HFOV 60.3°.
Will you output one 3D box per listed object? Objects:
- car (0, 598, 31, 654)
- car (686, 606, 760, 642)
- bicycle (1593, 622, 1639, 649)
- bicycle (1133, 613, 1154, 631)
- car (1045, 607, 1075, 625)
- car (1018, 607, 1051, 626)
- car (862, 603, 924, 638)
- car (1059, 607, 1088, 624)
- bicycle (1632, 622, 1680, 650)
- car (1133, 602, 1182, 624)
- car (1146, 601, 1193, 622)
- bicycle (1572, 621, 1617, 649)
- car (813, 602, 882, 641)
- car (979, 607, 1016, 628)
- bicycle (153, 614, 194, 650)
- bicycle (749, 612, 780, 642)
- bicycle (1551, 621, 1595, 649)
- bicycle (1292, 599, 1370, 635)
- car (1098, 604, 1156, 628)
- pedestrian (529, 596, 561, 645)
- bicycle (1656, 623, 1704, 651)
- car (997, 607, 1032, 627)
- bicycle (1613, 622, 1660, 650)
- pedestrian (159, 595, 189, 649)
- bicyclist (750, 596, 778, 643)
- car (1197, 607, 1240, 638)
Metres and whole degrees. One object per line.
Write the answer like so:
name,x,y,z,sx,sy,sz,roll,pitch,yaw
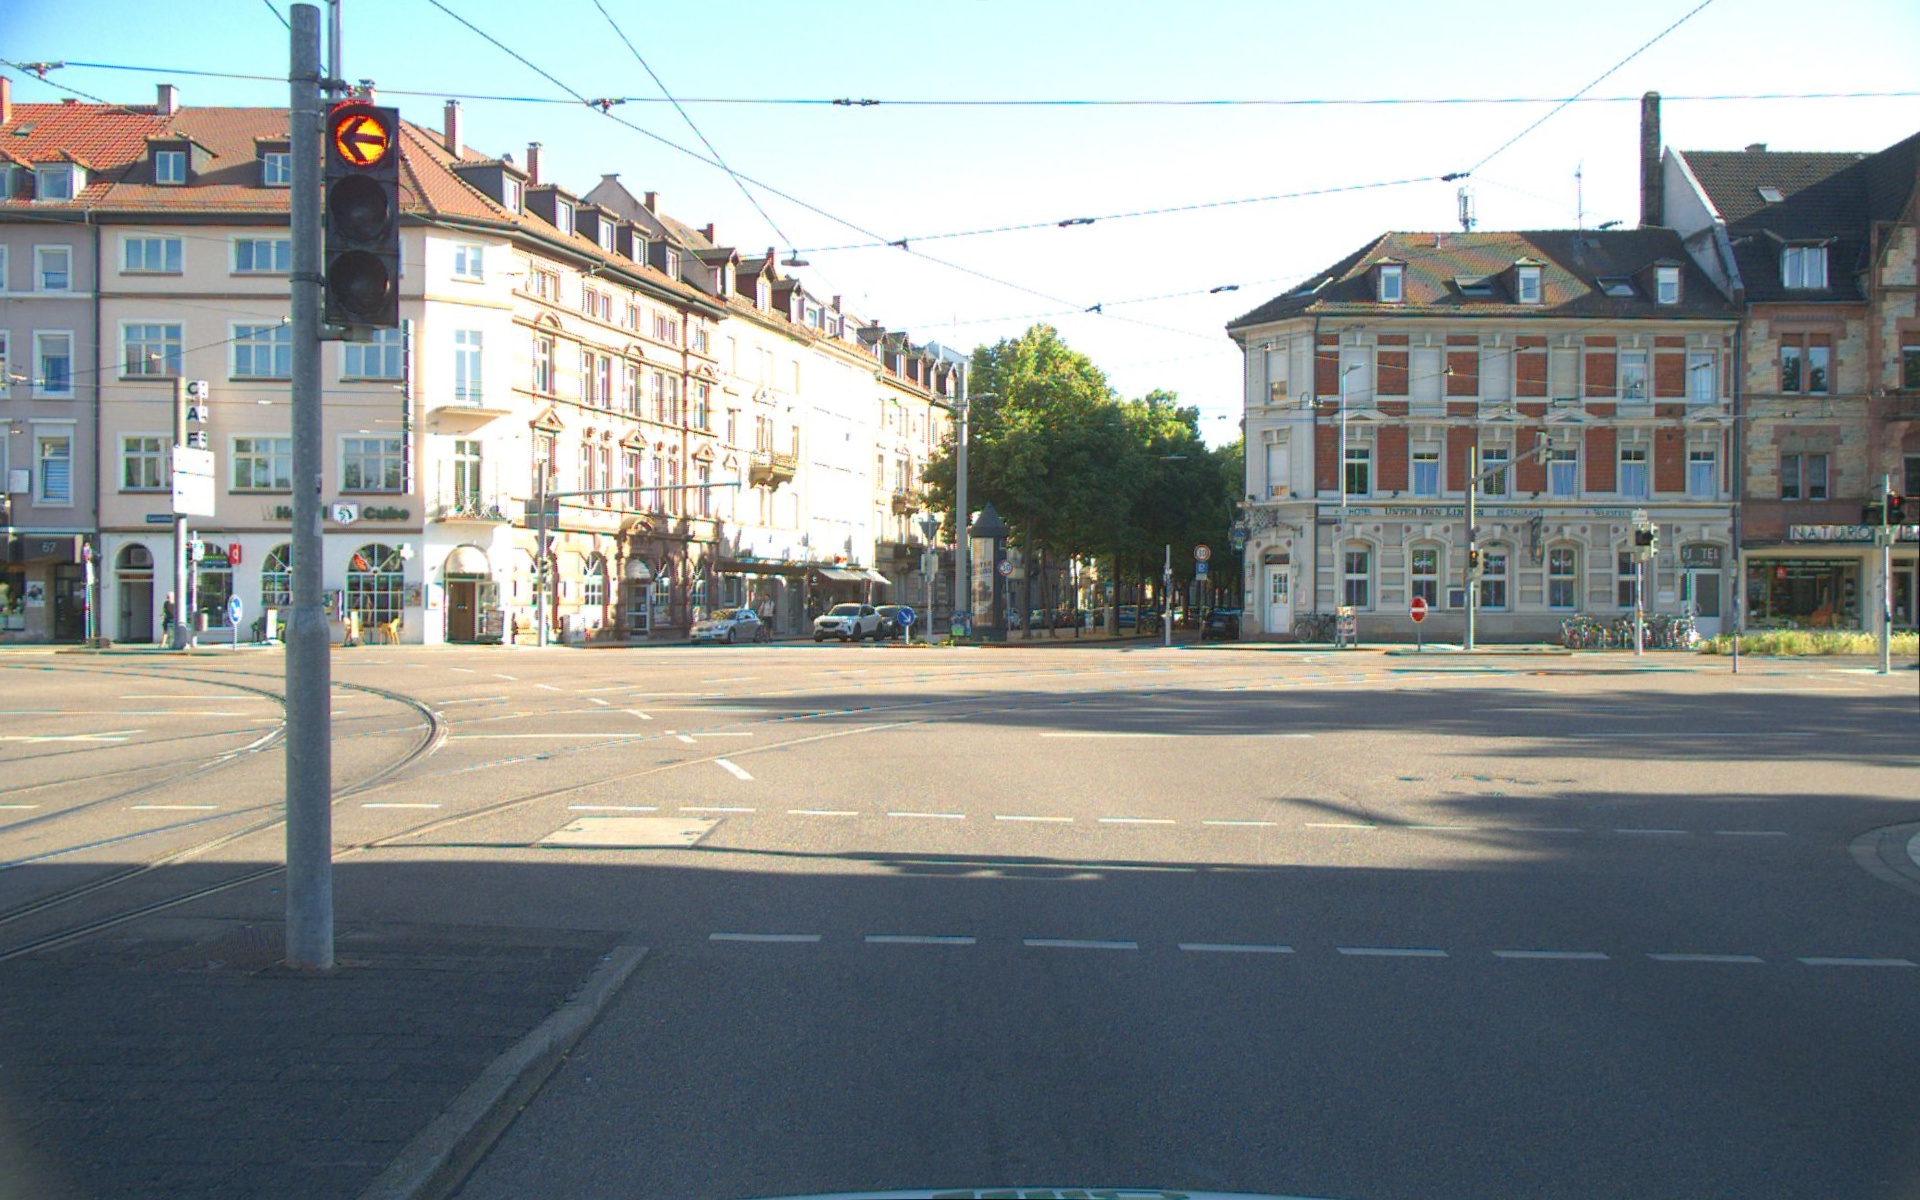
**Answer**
car,-32.151,0.792,52.257,4.276,1.741,2.306,1,0,1
car,-9.538,0.938,66.744,1.642,1.378,3.593,0,0,16
bicycle,21.194,1.138,53.466,0.645,0.855,2.160,1,0,1
bicycle,11.055,1.304,99.625,0.625,1.039,1.840,1,0,-14
car,7.897,1.225,130.842,1.642,1.378,3.593,0,0,16
car,5.537,1.195,122.500,1.642,1.378,3.593,0,0,16
car,-2.946,0.893,73.551,1.642,1.509,3.950,0,0,16
car,9.322,1.262,135.894,1.642,1.378,3.593,0,0,16
bicycle,22.492,1.160,53.479,0.645,0.855,2.160,1,0,1
car,15.324,0.971,128.245,3.503,1.677,1.684,0,0,16
car,16.946,0.897,133.744,3.503,1.677,1.684,0,0,16
bicycle,20.482,1.126,53.453,0.645,0.855,2.160,1,0,1
car,-4.534,0.848,67.226,1.642,1.509,3.774,0,0,16
car,2.568,1.148,111.338,1.642,1.378,3.593,0,0,16
bicycle,-24.736,0.988,52.053,0.561,1.096,1.497,1,0,-1
bicycle,-7.679,1.051,65.126,0.687,1.137,1.636,1,0,13
bicycle,19.762,1.113,53.366,0.645,0.855,2.160,1,0,1
bicycle,12.868,0.594,57.456,2.504,1.194,0.818,1,-1,-4
car,11.718,1.126,115.832,3.819,1.677,1.684,0,0,16
pedestrian,-14.852,0.733,59.171,0.759,1.699,0.831,1,-1,15
bicycle,23.281,1.174,53.525,0.645,0.855,2.160,1,0,1
car,3.825,1.168,115.513,1.642,1.378,3.593,0,0,16
bicycle,21.864,1.149,53.500,0.645,0.855,2.160,1,0,1
pedestrian,-24.732,0.690,52.040,0.570,1.699,0.752,1,-1,-1
bicyclist,-7.713,0.771,65.003,0.761,1.834,1.056,1,-1,13
car,12.961,1.113,82.747,1.642,1.509,3.950,0,0,16
